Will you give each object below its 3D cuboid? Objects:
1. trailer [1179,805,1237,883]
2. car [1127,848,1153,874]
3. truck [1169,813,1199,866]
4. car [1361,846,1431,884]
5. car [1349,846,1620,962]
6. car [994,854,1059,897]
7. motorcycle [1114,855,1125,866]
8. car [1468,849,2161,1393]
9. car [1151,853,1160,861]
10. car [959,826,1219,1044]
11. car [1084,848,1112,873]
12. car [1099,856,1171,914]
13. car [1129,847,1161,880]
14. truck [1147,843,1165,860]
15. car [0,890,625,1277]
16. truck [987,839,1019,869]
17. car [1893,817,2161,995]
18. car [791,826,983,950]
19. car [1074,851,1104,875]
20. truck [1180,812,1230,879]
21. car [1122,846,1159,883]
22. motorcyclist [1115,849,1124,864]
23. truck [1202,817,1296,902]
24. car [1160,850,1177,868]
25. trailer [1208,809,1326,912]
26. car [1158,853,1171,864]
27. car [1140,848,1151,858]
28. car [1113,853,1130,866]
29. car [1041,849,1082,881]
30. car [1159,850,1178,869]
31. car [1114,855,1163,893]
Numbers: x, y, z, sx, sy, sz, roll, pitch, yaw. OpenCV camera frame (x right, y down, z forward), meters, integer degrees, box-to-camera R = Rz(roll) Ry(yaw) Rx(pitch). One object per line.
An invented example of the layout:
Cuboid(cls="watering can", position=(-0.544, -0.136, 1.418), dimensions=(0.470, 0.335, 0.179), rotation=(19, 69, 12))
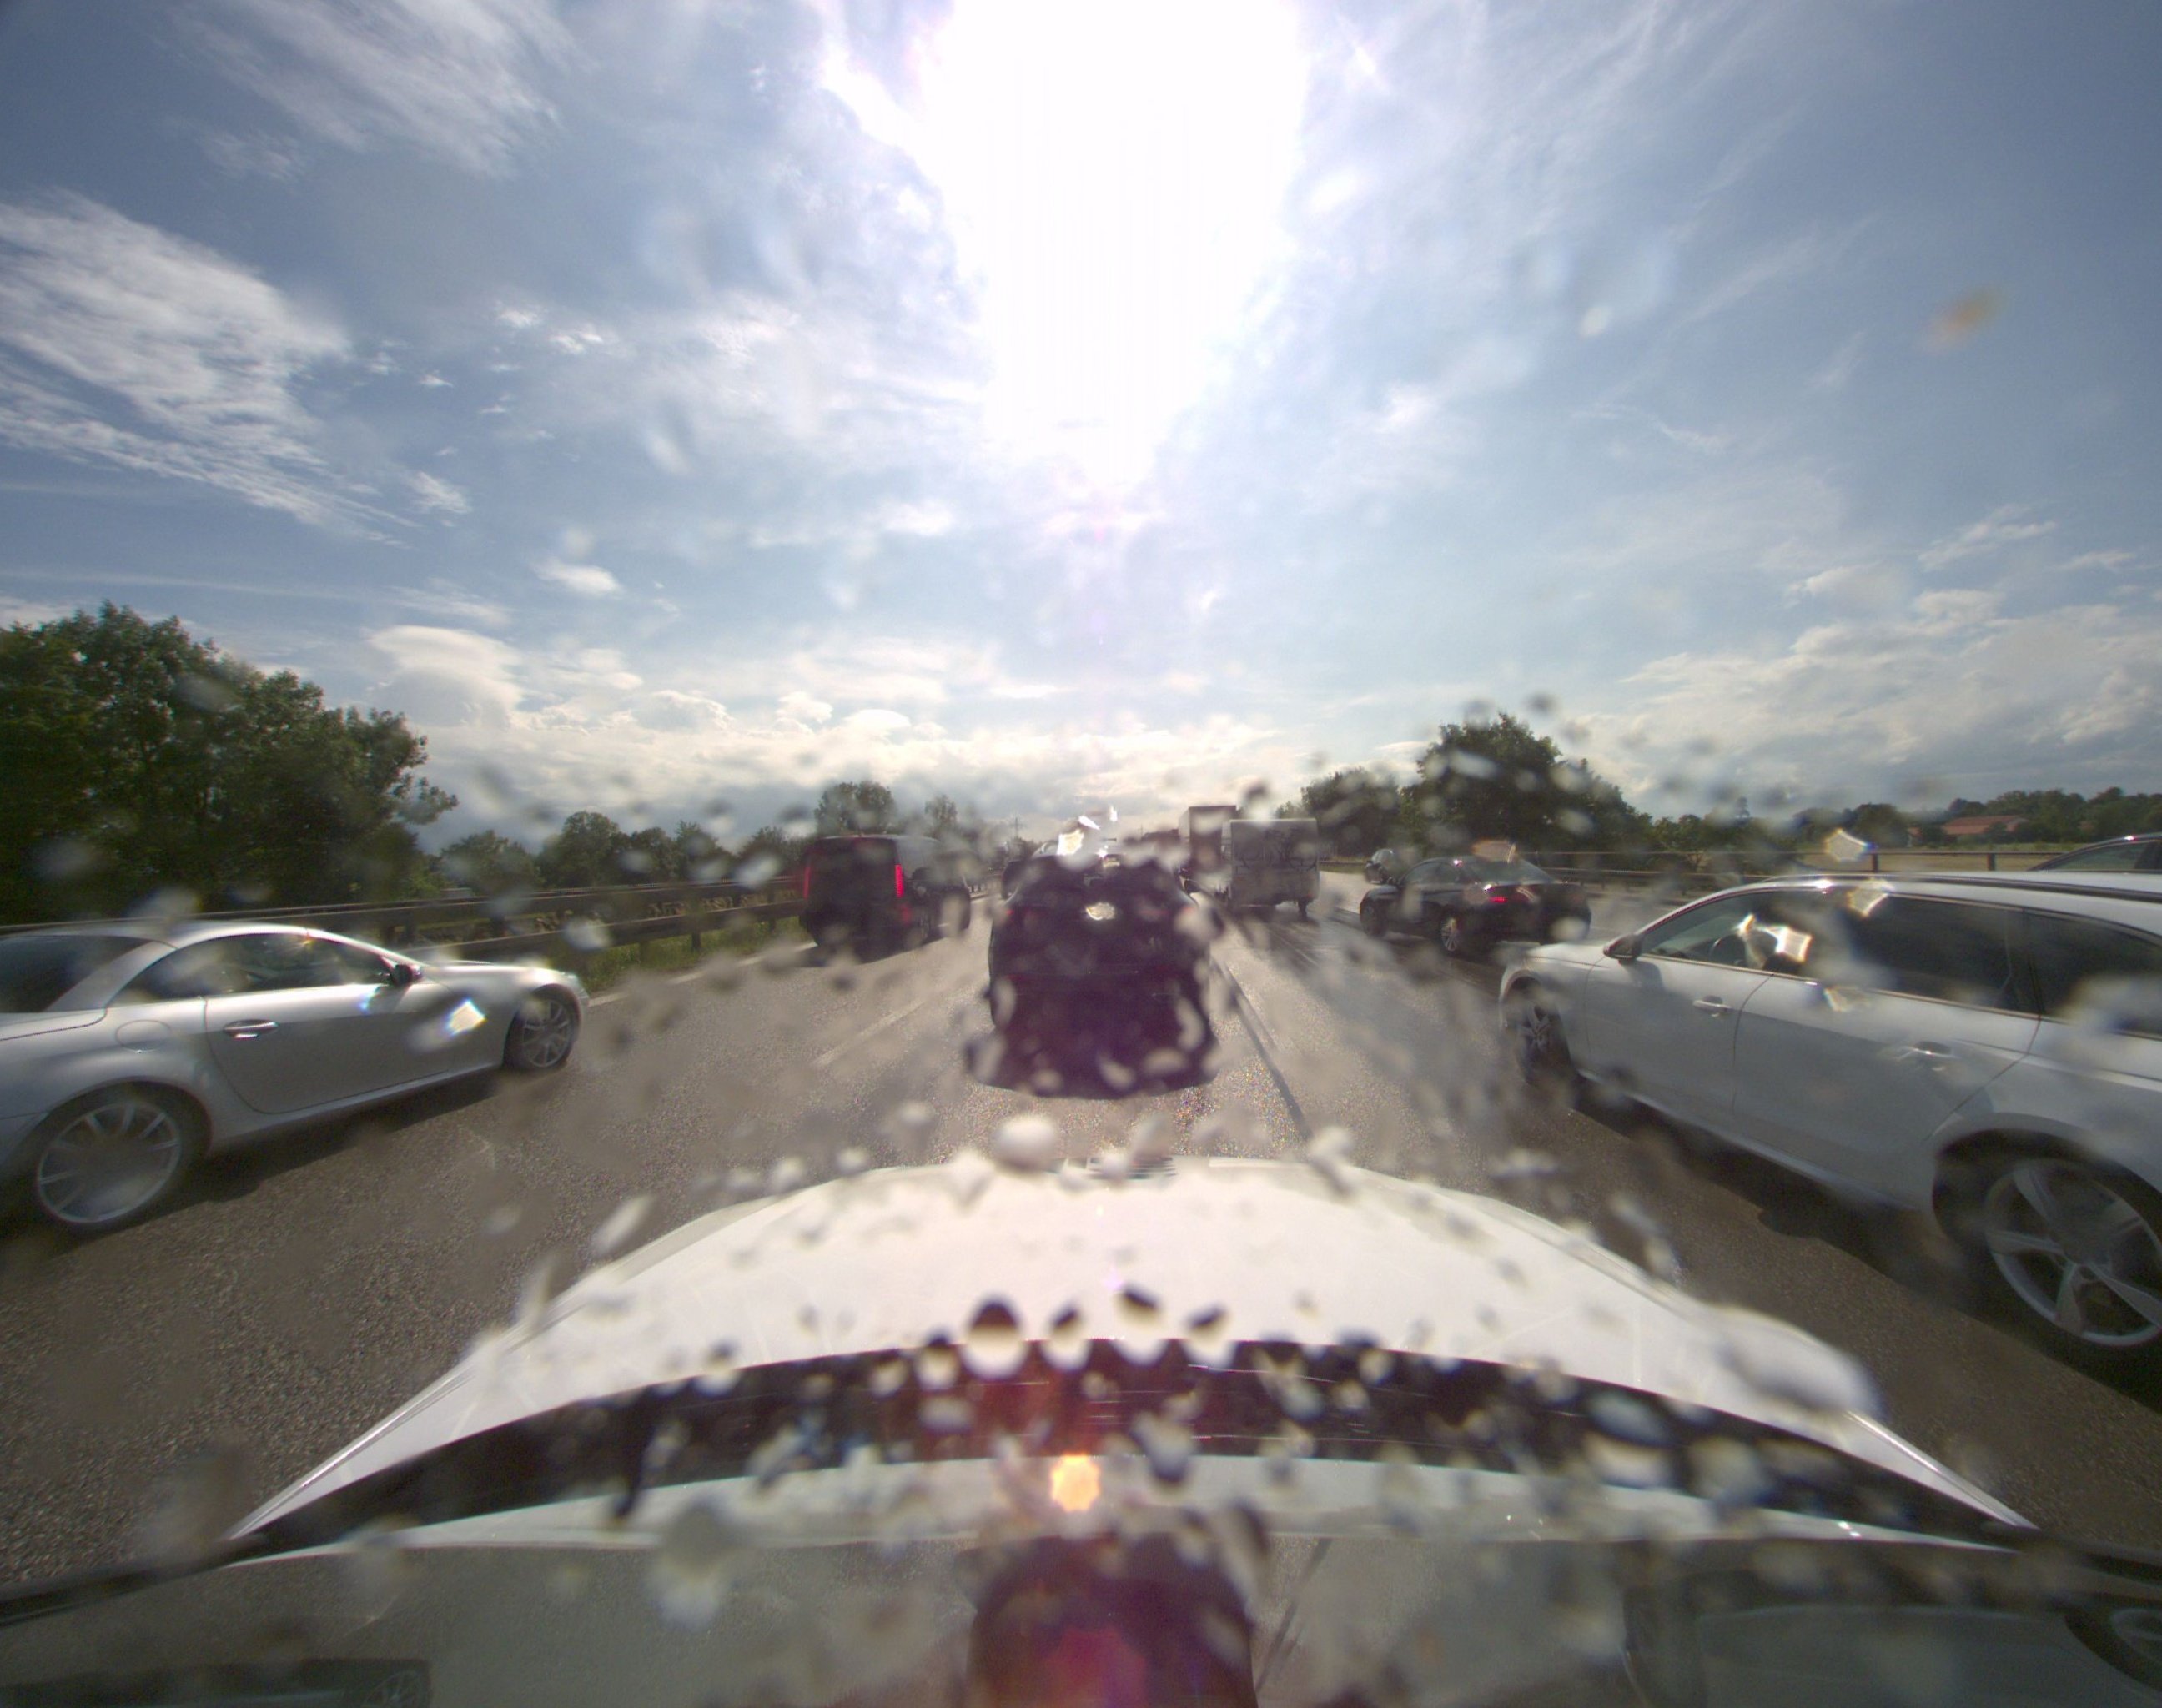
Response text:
Cuboid(cls="trailer", position=(7.338, -0.516, 47.754), dimensions=(2.991, 4.166, 8.553), rotation=(-1, 0, 7))
Cuboid(cls="car", position=(4.798, 0.543, 65.718), dimensions=(1.983, 2.013, 4.007), rotation=(-1, 0, 6))
Cuboid(cls="truck", position=(9.933, -1.323, 79.198), dimensions=(2.491, 4.829, 7.551), rotation=(-1, 0, 4))
Cuboid(cls="car", position=(13.734, 0.482, 35.754), dimensions=(1.840, 1.568, 4.005), rotation=(0, 0, 5))
Cuboid(cls="car", position=(6.056, 0.673, 12.886), dimensions=(1.846, 1.464, 4.247), rotation=(-2, 0, -6))
Cuboid(cls="car", position=(-2.002, 0.782, 31.338), dimensions=(1.748, 1.516, 4.216), rotation=(-1, 0, 6))
Cuboid(cls="motorcycle", position=(4.509, 0.778, 95.492), dimensions=(1.068, 1.271, 2.694), rotation=(-1, 0, 5))
Cuboid(cls="car", position=(3.751, 0.715, 3.682), dimensions=(1.821, 1.425, 4.510), rotation=(-1, -1, 0))
Cuboid(cls="car", position=(16.459, 0.629, 179.728), dimensions=(1.869, 1.760, 4.002), rotation=(-1, 0, 2))
Cuboid(cls="car", position=(0.247, 0.647, 8.508), dimensions=(1.984, 1.661, 4.412), rotation=(-1, 0, 5))
Cuboid(cls="car", position=(1.529, 0.539, 70.764), dimensions=(1.984, 2.013, 4.007), rotation=(2, 0, 6))
Cuboid(cls="car", position=(1.546, 0.775, 22.106), dimensions=(1.748, 1.387, 3.952), rotation=(-1, 0, 6))
Cuboid(cls="car", position=(4.349, 0.598, 54.605), dimensions=(1.984, 2.013, 4.007), rotation=(2, 0, 6))
Cuboid(cls="truck", position=(18.918, -0.540, 205.397), dimensions=(3.829, 4.017, 11.223), rotation=(-1, 0, 1))
Cuboid(cls="car", position=(-4.745, 0.950, 4.642), dimensions=(1.716, 1.278, 4.069), rotation=(-1, 0, 5))
Cuboid(cls="truck", position=(-10.425, 0.107, 109.652), dimensions=(2.848, 3.821, 7.887), rotation=(-1, -1, 5))
Cuboid(cls="car", position=(10.797, 0.461, 7.865), dimensions=(1.812, 1.620, 4.370), rotation=(-1, 0, 5))
Cuboid(cls="car", position=(-3.524, 0.559, 16.033), dimensions=(1.983, 2.013, 5.278), rotation=(-1, 0, 6))
Cuboid(cls="car", position=(0.668, 0.677, 64.132), dimensions=(1.984, 1.772, 4.007), rotation=(1, 0, 6))
Cuboid(cls="truck", position=(8.049, -0.515, 53.293), dimensions=(2.979, 4.166, 5.250), rotation=(-1, 0, 7))
Cuboid(cls="car", position=(3.394, 0.563, 45.863), dimensions=(1.983, 2.013, 4.007), rotation=(-1, 0, 6))
Cuboid(cls="motorcyclist", position=(4.497, 0.293, 95.454), dimensions=(1.059, 1.718, 0.786), rotation=(-1, -1, 5))
Cuboid(cls="truck", position=(5.378, 0.181, 26.892), dimensions=(2.363, 2.477, 5.764), rotation=(-1, 0, 5))
Cuboid(cls="car", position=(10.651, 0.611, 99.231), dimensions=(1.984, 2.013, 4.007), rotation=(2, 0, 6))
Cuboid(cls="trailer", position=(5.029, 0.182, 23.025), dimensions=(2.363, 2.483, 6.532), rotation=(-1, 0, 5))
Cuboid(cls="car", position=(14.344, 0.734, 140.040), dimensions=(1.869, 1.760, 4.002), rotation=(-1, 0, 2))
Cuboid(cls="car", position=(11.585, -0.188, 146.130), dimensions=(1.869, 1.760, 4.002), rotation=(-1, 0, 2))
Cuboid(cls="car", position=(5.357, 0.663, 107.649), dimensions=(1.984, 1.616, 4.007), rotation=(2, 0, 6))
Cuboid(cls="car", position=(-1.056, 0.609, 46.057), dimensions=(1.985, 1.720, 4.004), rotation=(-1, 0, 4))
Cuboid(cls="car", position=(9.445, 0.558, 88.345), dimensions=(1.983, 2.013, 4.007), rotation=(0, 0, 6))
Cuboid(cls="car", position=(2.318, 0.765, 32.268), dimensions=(1.797, 1.407, 4.006), rotation=(-1, 0, 5))
